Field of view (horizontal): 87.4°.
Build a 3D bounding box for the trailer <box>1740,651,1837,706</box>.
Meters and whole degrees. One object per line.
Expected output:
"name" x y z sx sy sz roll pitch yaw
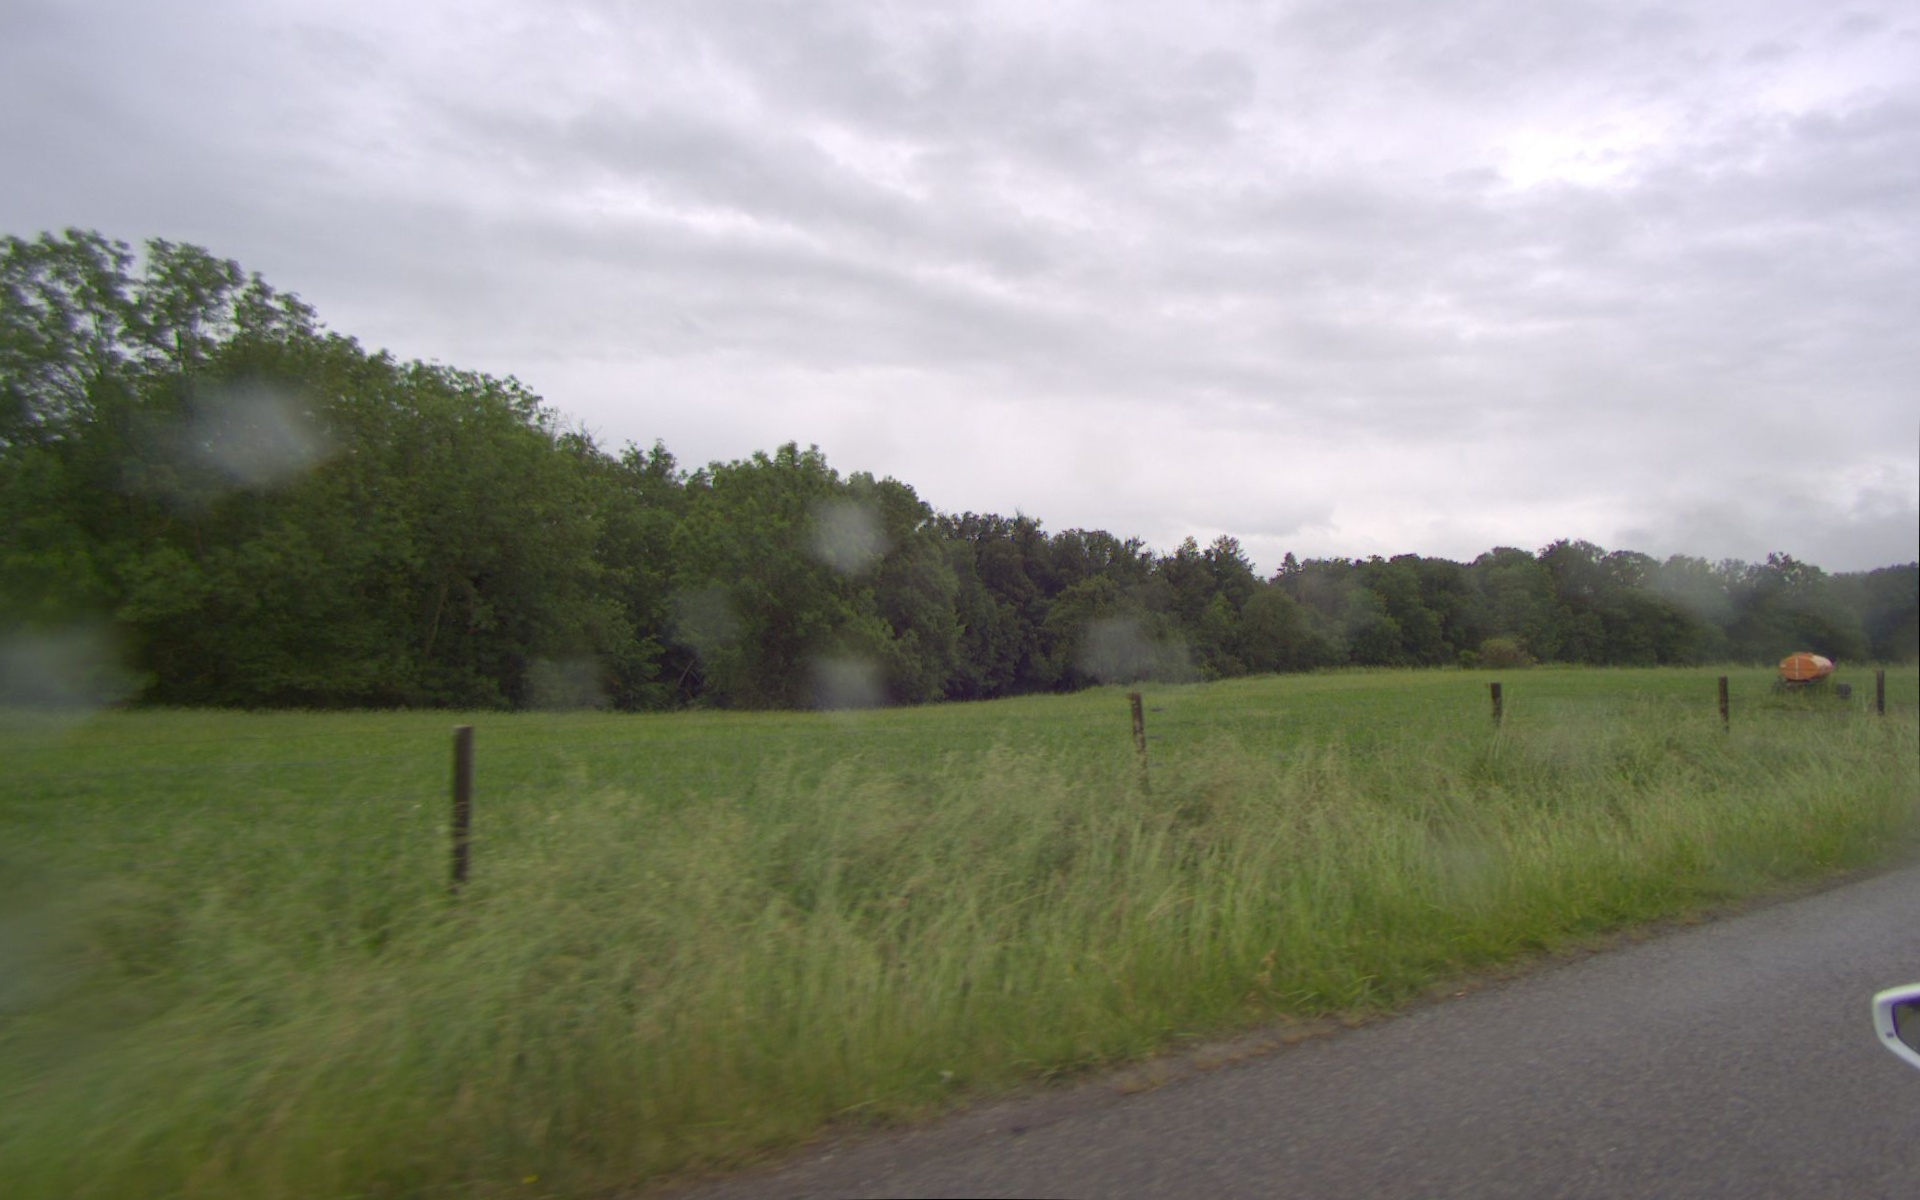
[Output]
"trailer" 24.810 2.295 30.055 3.066 1.524 1.736 2 -3 -41
